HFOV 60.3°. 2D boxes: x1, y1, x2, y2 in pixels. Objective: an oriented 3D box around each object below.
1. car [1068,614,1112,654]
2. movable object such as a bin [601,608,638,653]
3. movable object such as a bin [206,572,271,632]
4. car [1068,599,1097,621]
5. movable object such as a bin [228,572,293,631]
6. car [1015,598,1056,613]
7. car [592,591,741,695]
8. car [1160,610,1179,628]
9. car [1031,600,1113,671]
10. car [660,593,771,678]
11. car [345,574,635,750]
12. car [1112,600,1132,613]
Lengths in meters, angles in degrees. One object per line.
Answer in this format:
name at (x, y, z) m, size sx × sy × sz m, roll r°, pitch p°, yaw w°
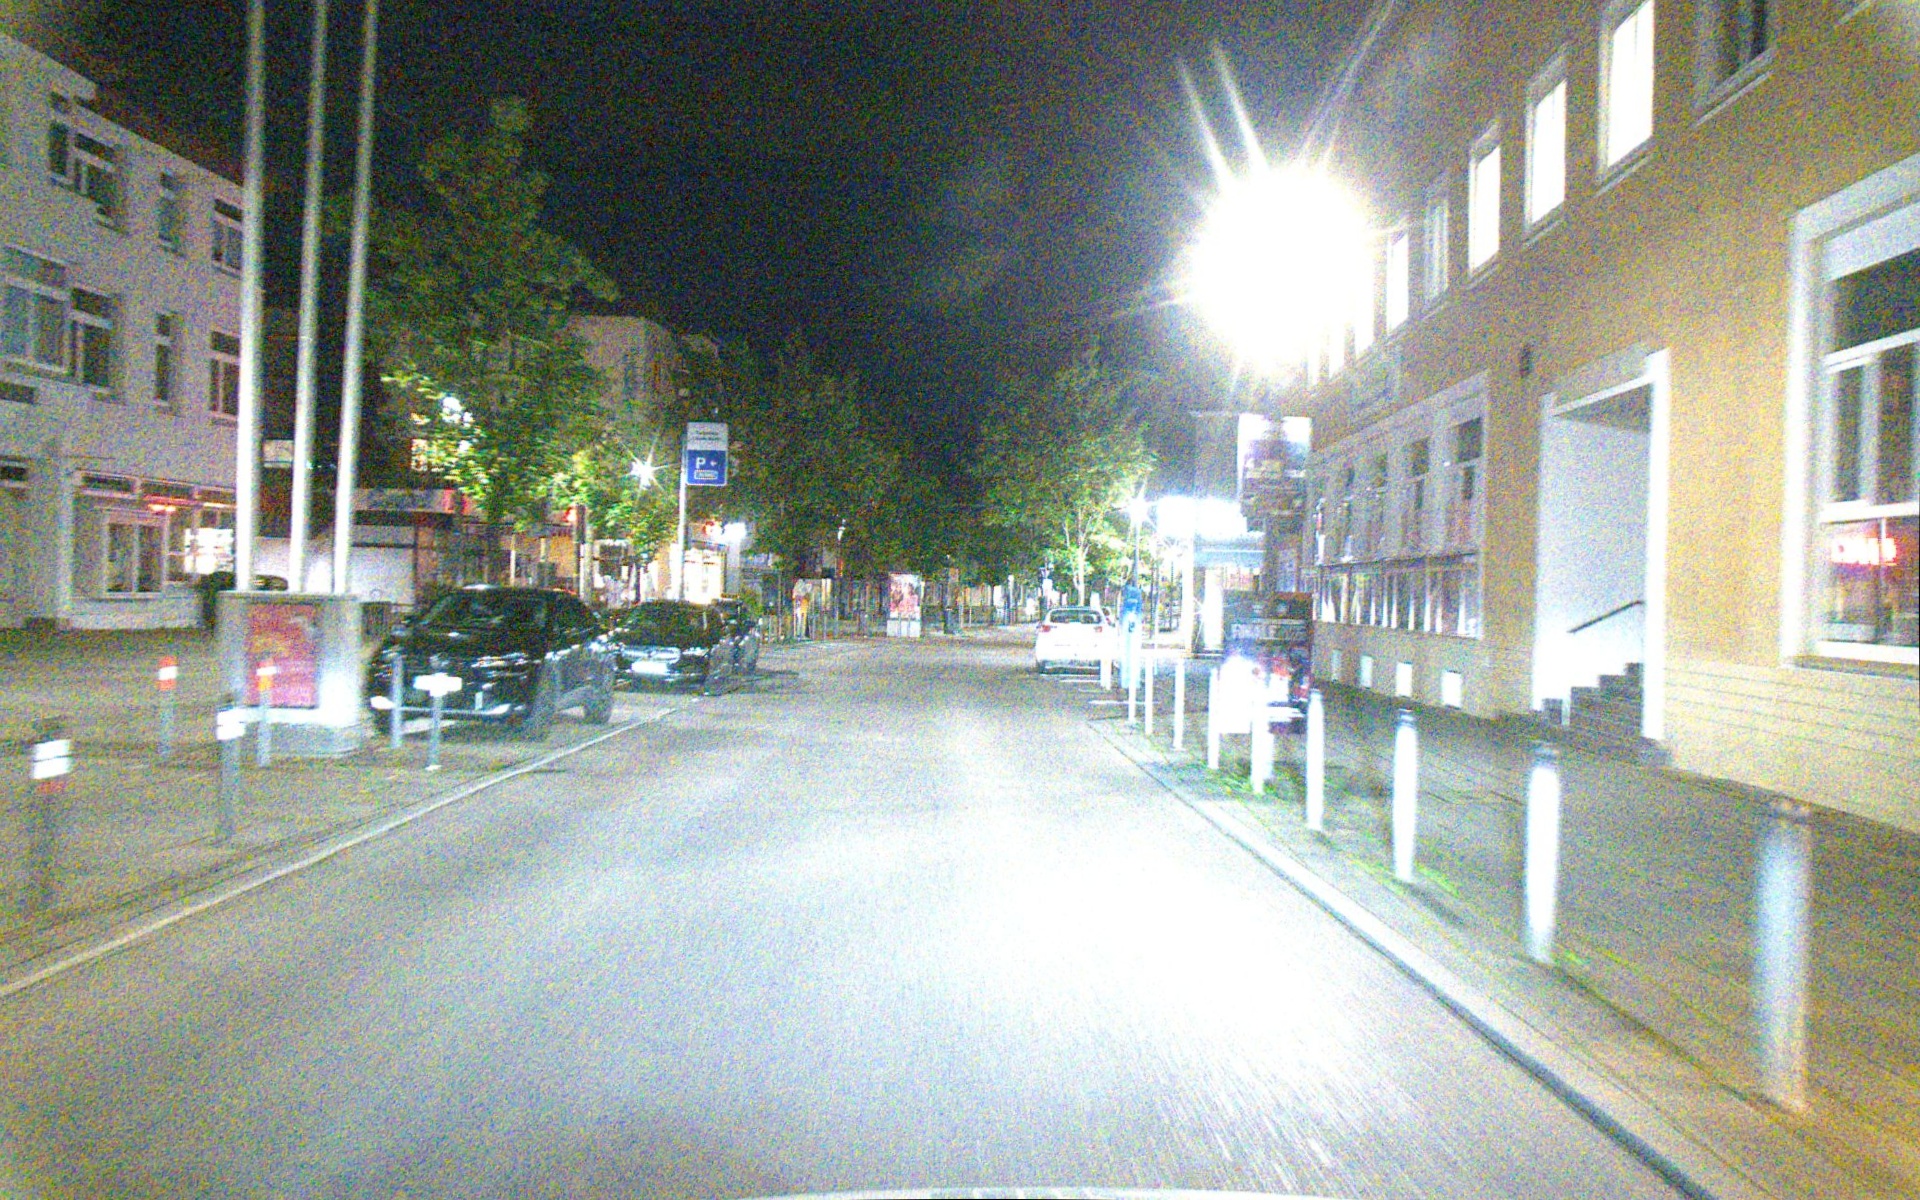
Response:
car at (5.285, 1.352, 67.157) m, size 1.698 × 1.466 × 4.499 m, roll 1°, pitch 0°, yaw 5°
movable object such as a bin at (-8.385, 0.745, 40.728) m, size 0.731 × 1.083 × 0.792 m, roll 1°, pitch -1°, yaw -1°
movable object such as a bin at (-18.297, 0.055, 41.958) m, size 1.015 × 1.469 × 1.286 m, roll 2°, pitch -1°, yaw 1°
car at (10.752, 0.855, 144.950) m, size 1.975 × 1.720 × 5.007 m, roll 3°, pitch 1°, yaw 11°
movable object such as a bin at (-18.288, 0.061, 43.263) m, size 1.107 × 1.483 × 1.228 m, roll 2°, pitch -1°, yaw 1°
car at (8.036, 0.622, 176.152) m, size 4.078 × 1.463 × 1.842 m, roll -2°, pitch -1°, yaw 14°
car at (-4.936, 0.686, 28.435) m, size 1.867 × 1.568 × 4.779 m, roll 2°, pitch 0°, yaw -3°
car at (18.895, 1.701, 149.286) m, size 1.639 × 1.485 × 3.678 m, roll 1°, pitch 0°, yaw 8°
car at (2.515, 0.810, 37.880) m, size 1.706 × 1.514 × 4.637 m, roll 1°, pitch -1°, yaw 2°
car at (-5.128, 0.709, 35.223) m, size 1.723 × 1.666 × 4.813 m, roll 1°, pitch 0°, yaw -1°
car at (-4.917, 0.612, 17.989) m, size 1.734 × 1.601 × 4.483 m, roll 2°, pitch -1°, yaw 1°
car at (19.404, 0.803, 198.446) m, size 1.873 × 1.394 × 4.461 m, roll 1°, pitch 1°, yaw 12°
